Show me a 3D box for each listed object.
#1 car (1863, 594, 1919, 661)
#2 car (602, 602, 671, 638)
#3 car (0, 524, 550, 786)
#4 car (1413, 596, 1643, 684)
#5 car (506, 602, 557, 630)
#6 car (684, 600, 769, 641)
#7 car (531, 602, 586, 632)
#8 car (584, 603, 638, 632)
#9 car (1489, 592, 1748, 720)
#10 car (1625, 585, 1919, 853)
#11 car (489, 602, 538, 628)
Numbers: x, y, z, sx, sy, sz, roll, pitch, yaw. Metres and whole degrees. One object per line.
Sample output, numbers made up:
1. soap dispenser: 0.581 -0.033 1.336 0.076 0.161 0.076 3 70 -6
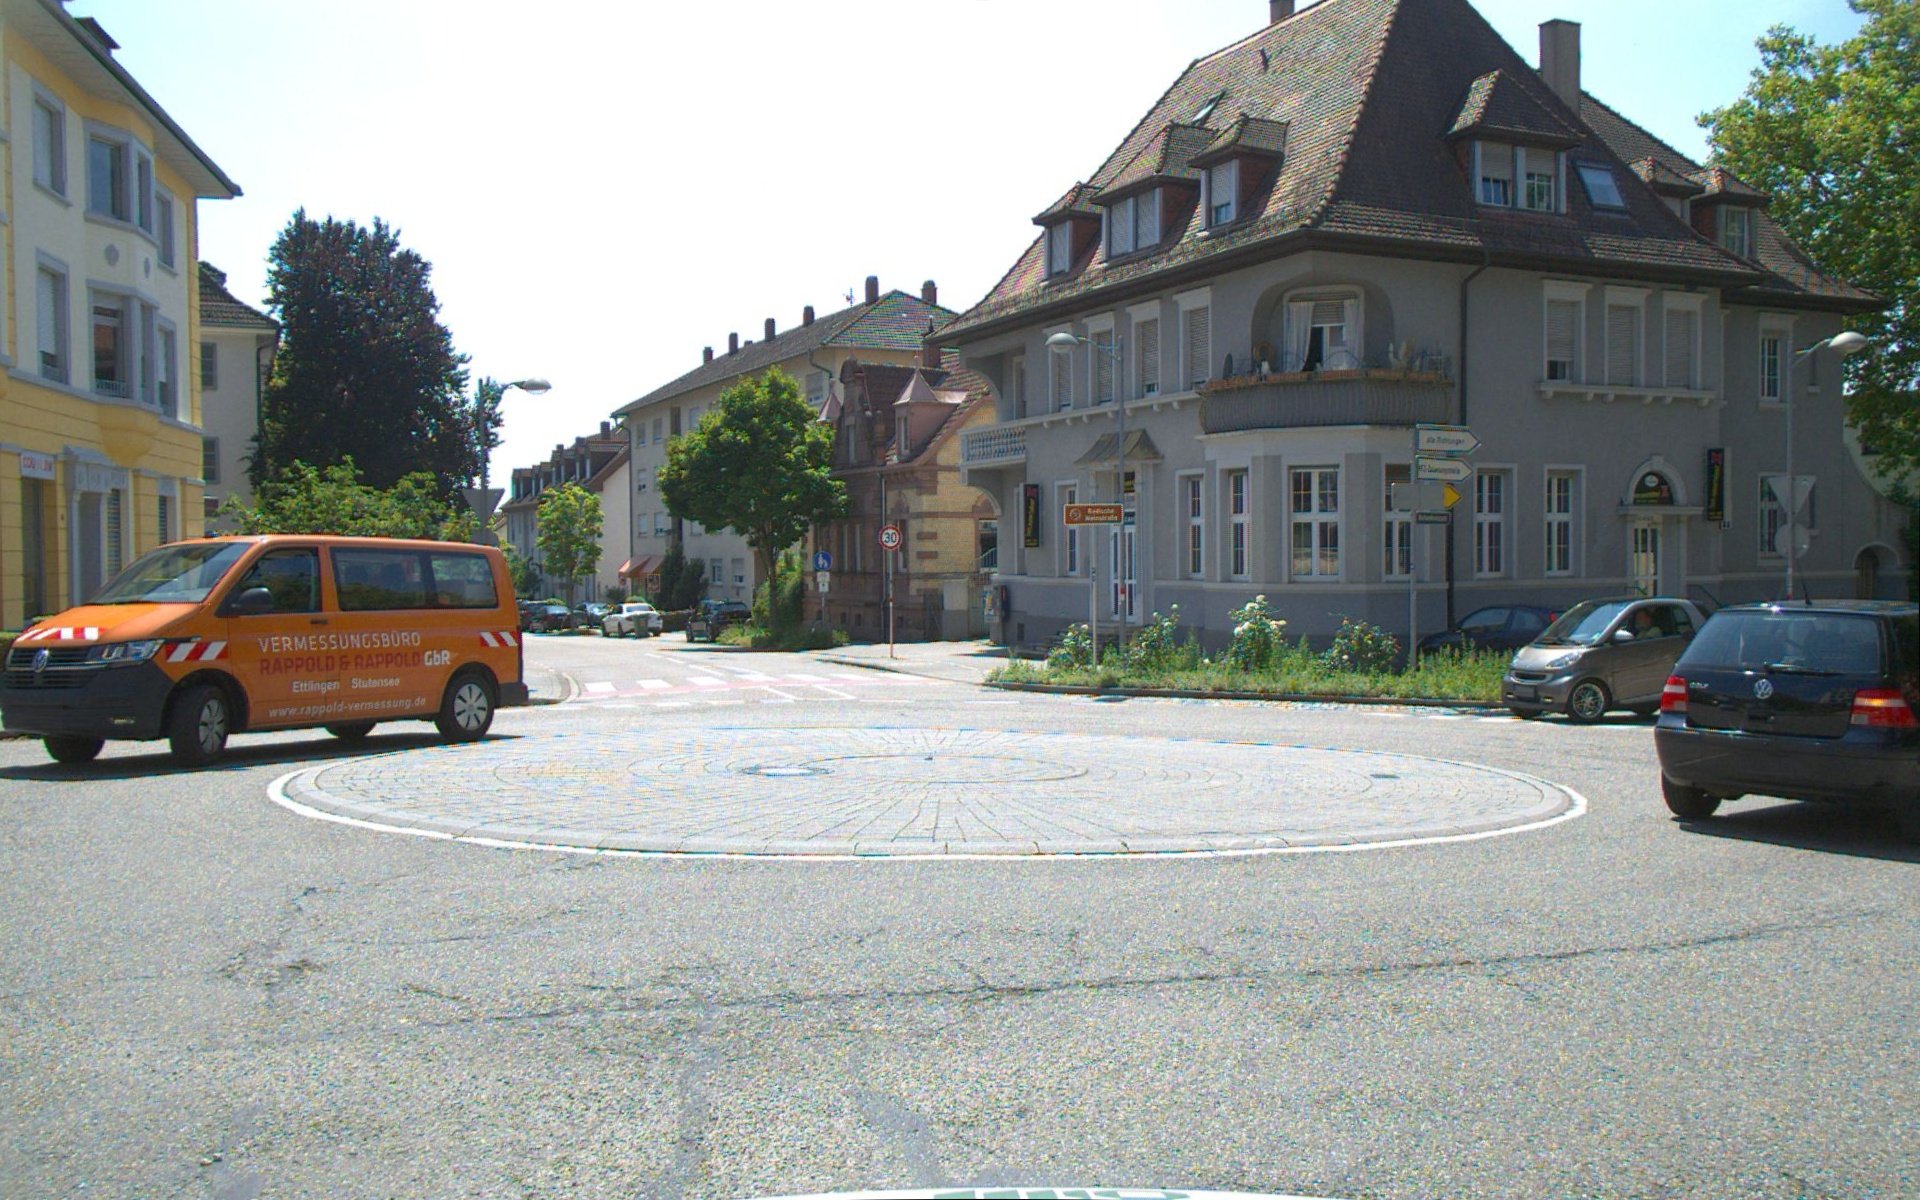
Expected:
1. car: 23.189 0.641 38.589 1.701 1.573 3.357 0 0 -31
2. car: -14.643 0.880 74.598 1.970 1.535 4.380 0 0 -27
3. car: -6.263 0.353 15.250 1.907 1.993 5.012 0 1 29
4. car: 10.176 0.677 29.866 1.701 1.486 3.753 0 0 -31
5. car: -24.226 0.885 93.418 1.970 1.535 4.380 0 0 -27
6. car: -9.071 0.771 63.999 1.970 1.535 4.380 0 0 -27
7. car: -21.415 0.887 88.126 1.970 1.535 4.380 0 0 -27
8. car: -19.676 0.965 93.107 1.970 1.535 4.380 0 0 -27
9. car: 8.438 0.681 21.265 2.734 1.557 1.563 0 0 -16
10. car: 6.387 0.680 11.201 4.015 1.472 1.694 1 1 -38
11. car: -26.513 0.882 98.093 1.970 1.535 4.380 0 0 -27
